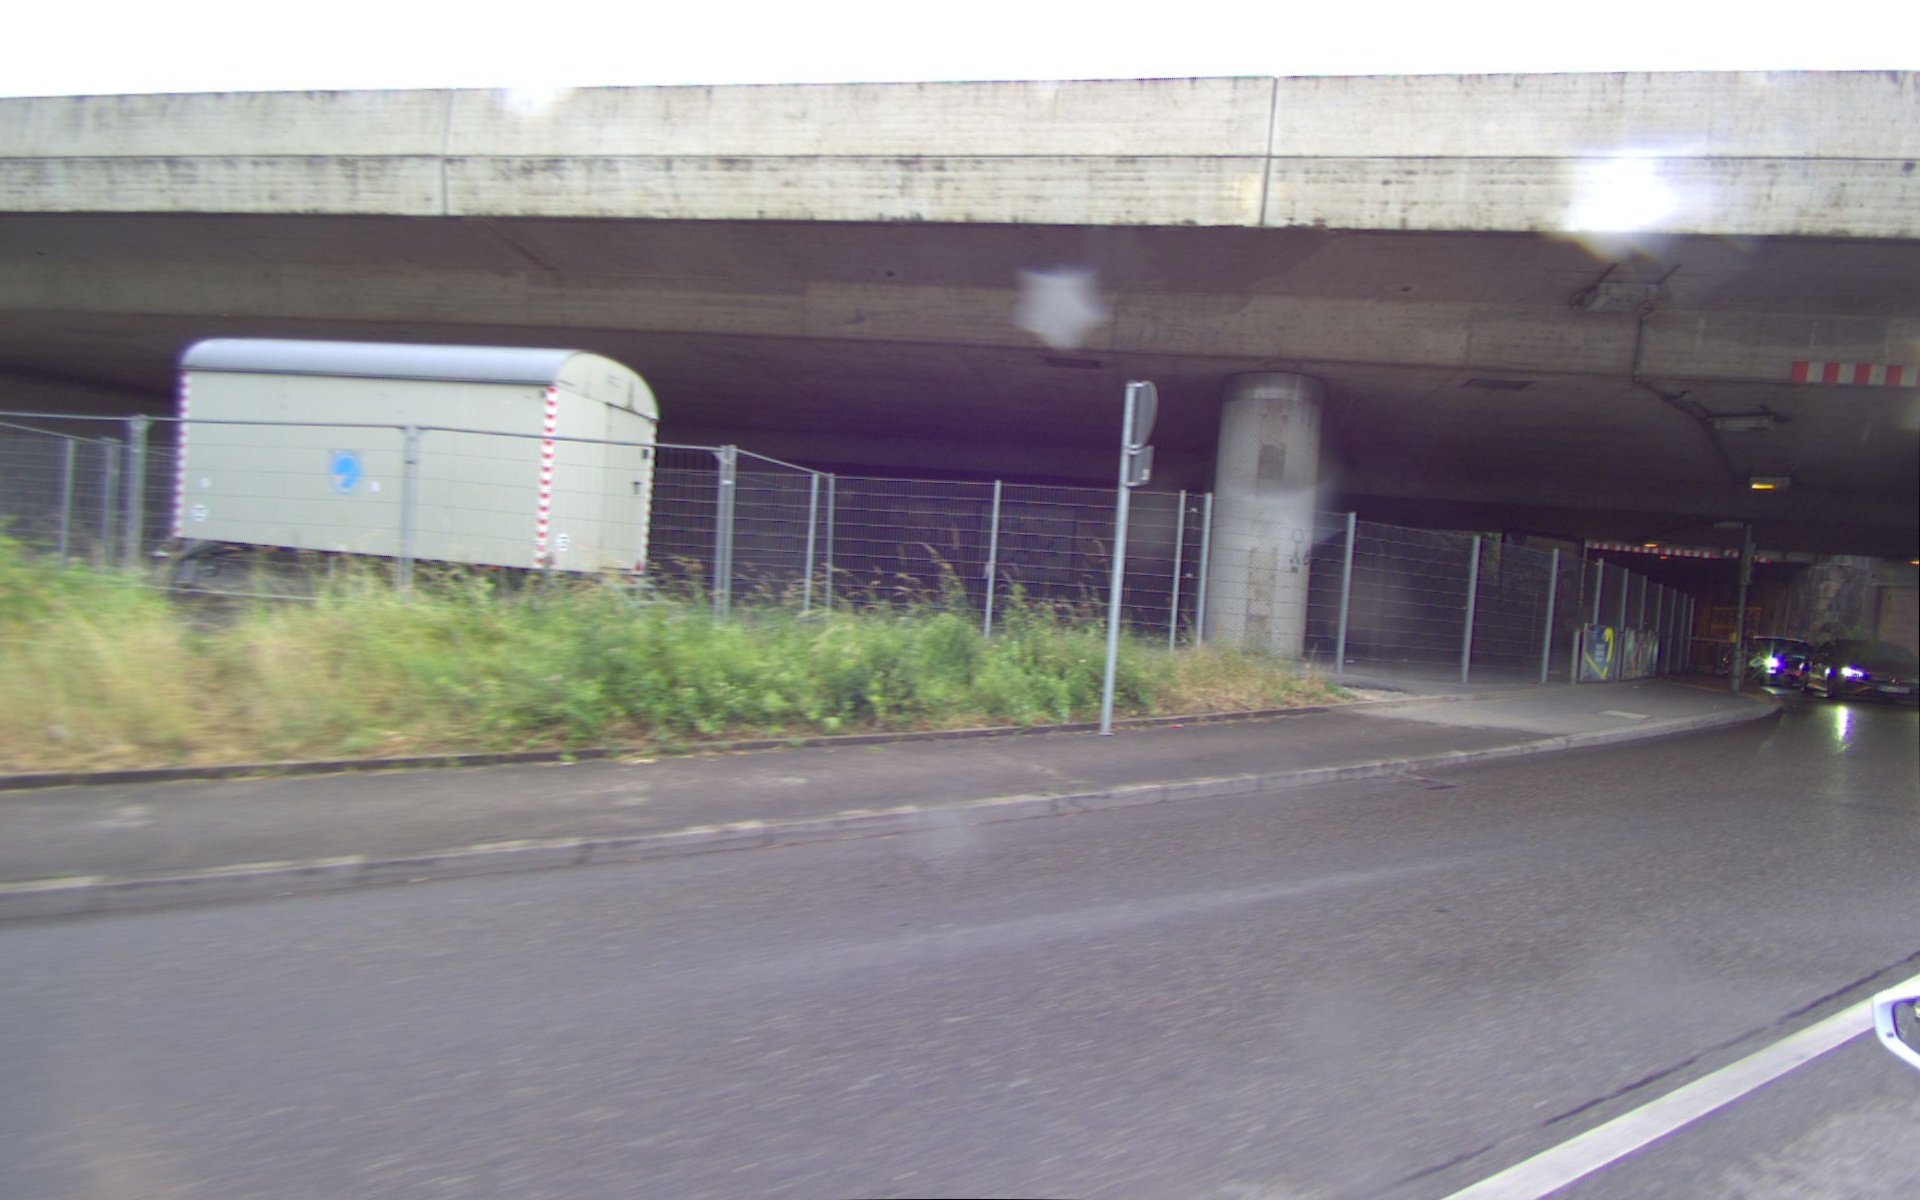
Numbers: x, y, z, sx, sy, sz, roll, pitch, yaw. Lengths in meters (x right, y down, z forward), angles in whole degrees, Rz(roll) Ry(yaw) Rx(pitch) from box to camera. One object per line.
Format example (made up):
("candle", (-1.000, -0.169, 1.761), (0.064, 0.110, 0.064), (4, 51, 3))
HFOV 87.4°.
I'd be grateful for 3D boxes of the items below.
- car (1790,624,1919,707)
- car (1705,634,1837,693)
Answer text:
("car", (21.302, 1.466, 23.637), (1.965, 1.550, 4.490), (4, 3, 31))
("car", (24.154, 1.843, 30.106), (1.962, 1.484, 4.103), (4, 0, 23))
